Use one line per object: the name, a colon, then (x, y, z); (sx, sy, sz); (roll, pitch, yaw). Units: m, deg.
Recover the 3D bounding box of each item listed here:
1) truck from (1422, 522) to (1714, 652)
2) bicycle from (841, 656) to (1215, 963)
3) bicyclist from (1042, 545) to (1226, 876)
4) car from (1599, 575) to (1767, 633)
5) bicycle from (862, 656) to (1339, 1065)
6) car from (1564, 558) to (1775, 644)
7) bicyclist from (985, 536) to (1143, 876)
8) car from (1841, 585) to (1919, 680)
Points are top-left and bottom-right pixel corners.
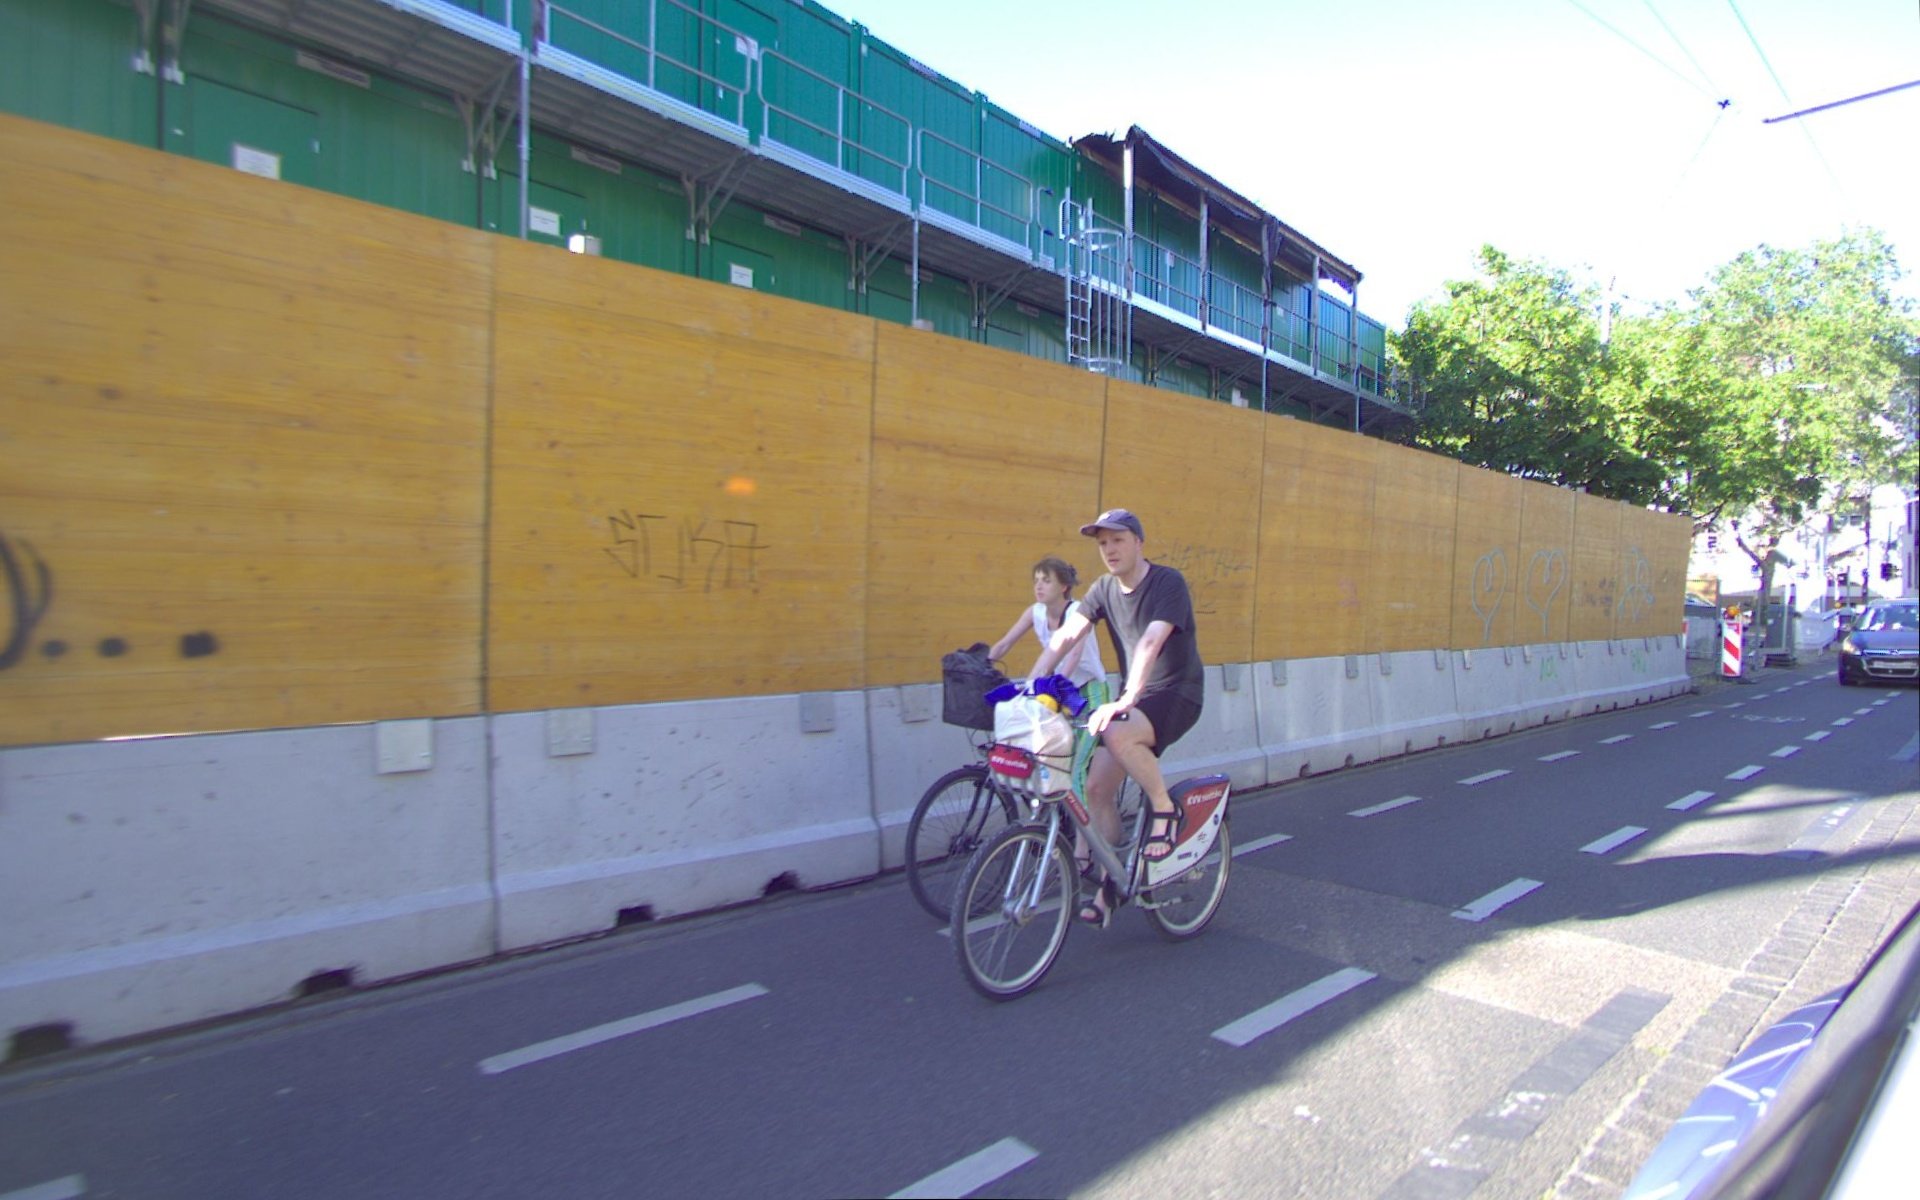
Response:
truck: (17.914, -0.455, 30.276); (2.331, 3.461, 7.086); (0, 2, -42)
bicycle: (0.457, 0.926, 5.187); (2.239, 1.141, 0.557); (0, 1, -45)
bicyclist: (0.709, 0.407, 4.184); (0.348, 1.253, 0.652); (0, 1, -43)
car: (27.120, 0.109, 38.116); (1.963, 2.035, 4.796); (0, 1, -37)
bicycle: (0.695, 0.871, 4.182); (2.237, 1.169, 0.668); (0, -1, -42)
car: (23.076, -0.068, 33.111); (1.979, 2.594, 5.330); (0, 2, -42)
bicyclist: (0.539, 0.499, 5.243); (0.567, 1.633, 0.557); (0, 1, -43)
car: (18.078, 0.562, 18.951); (4.095, 1.642, 1.749); (0, 0, -39)
